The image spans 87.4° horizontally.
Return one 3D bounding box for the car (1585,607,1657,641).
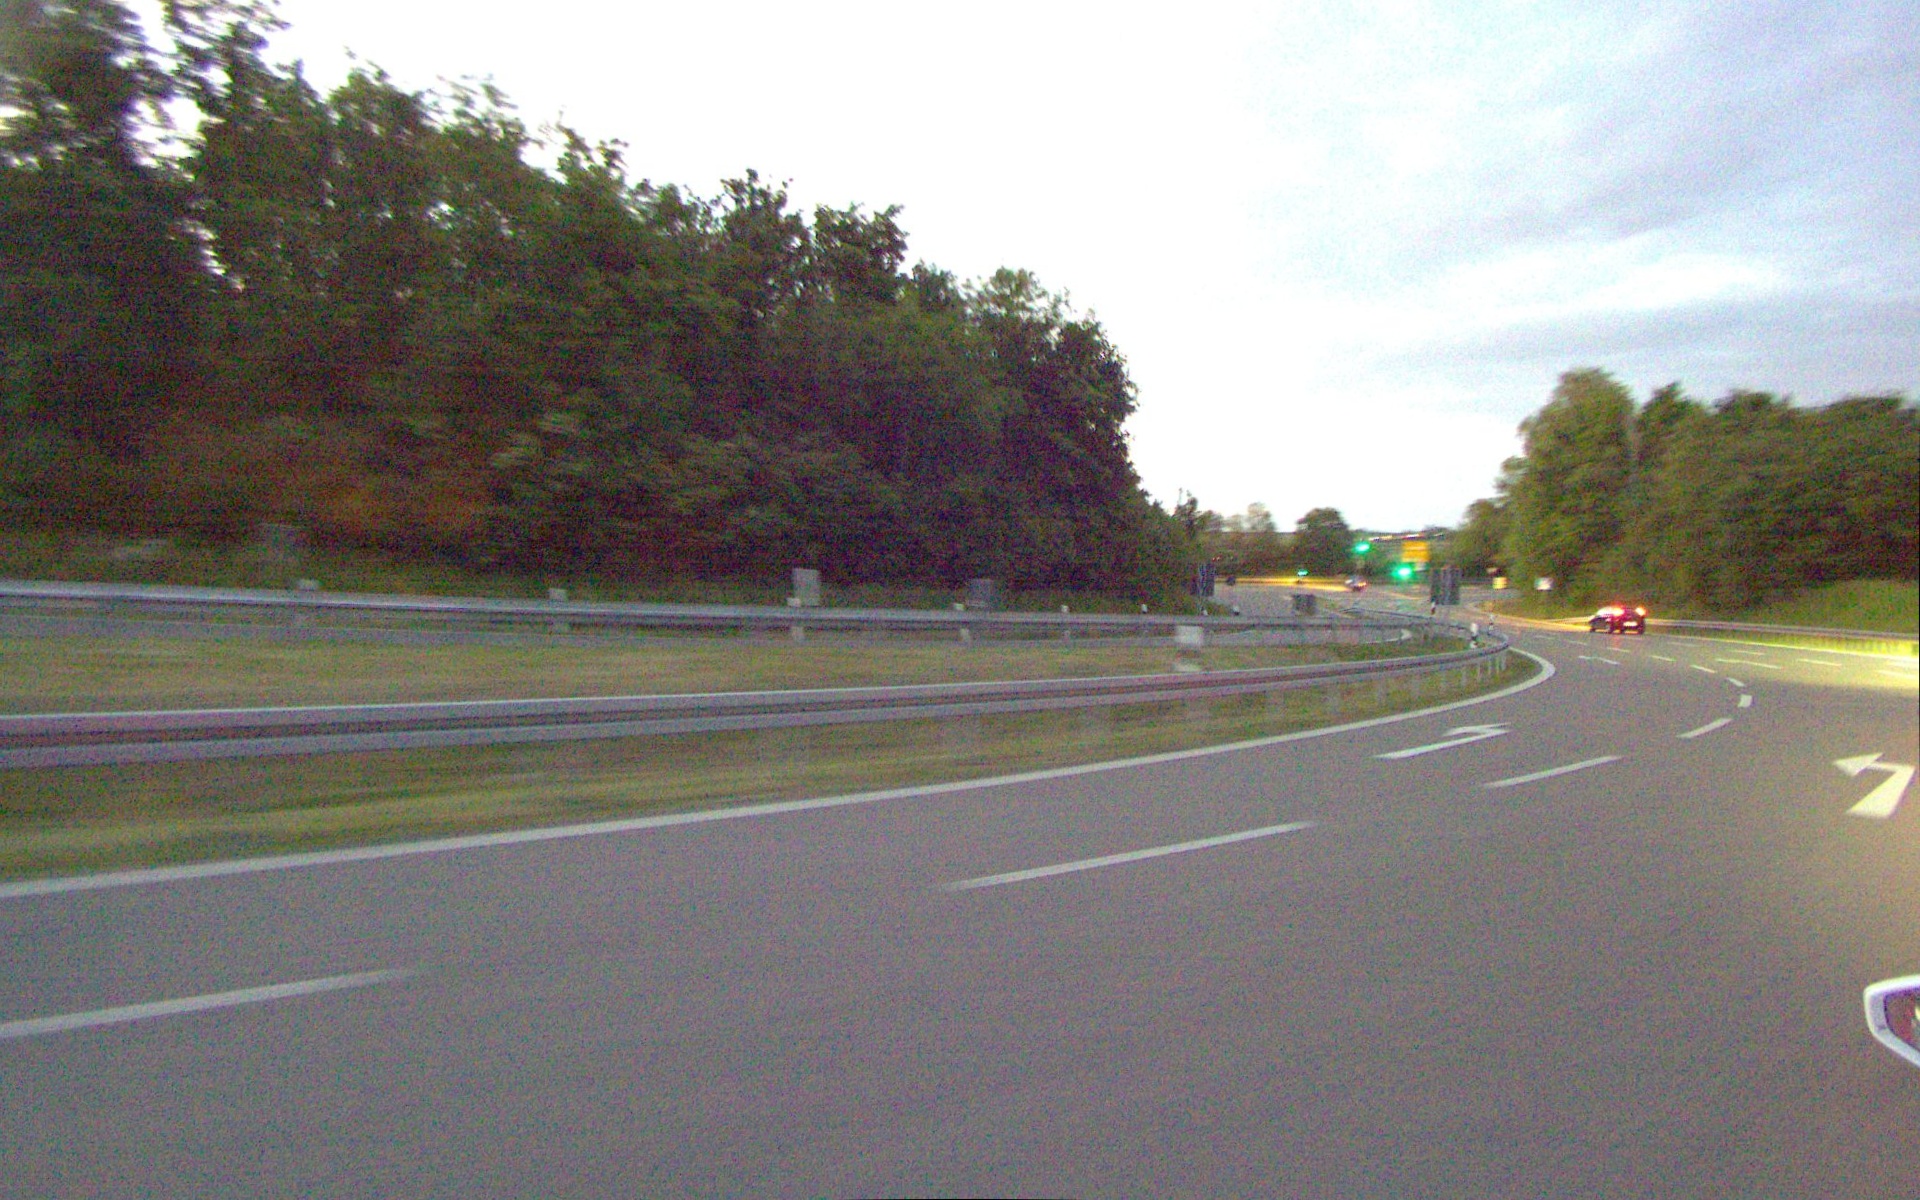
[{"bbox_3d":[35.608,1.249,54.223,1.960,1.620,4.002,3,1,14],"label":"car"}]
